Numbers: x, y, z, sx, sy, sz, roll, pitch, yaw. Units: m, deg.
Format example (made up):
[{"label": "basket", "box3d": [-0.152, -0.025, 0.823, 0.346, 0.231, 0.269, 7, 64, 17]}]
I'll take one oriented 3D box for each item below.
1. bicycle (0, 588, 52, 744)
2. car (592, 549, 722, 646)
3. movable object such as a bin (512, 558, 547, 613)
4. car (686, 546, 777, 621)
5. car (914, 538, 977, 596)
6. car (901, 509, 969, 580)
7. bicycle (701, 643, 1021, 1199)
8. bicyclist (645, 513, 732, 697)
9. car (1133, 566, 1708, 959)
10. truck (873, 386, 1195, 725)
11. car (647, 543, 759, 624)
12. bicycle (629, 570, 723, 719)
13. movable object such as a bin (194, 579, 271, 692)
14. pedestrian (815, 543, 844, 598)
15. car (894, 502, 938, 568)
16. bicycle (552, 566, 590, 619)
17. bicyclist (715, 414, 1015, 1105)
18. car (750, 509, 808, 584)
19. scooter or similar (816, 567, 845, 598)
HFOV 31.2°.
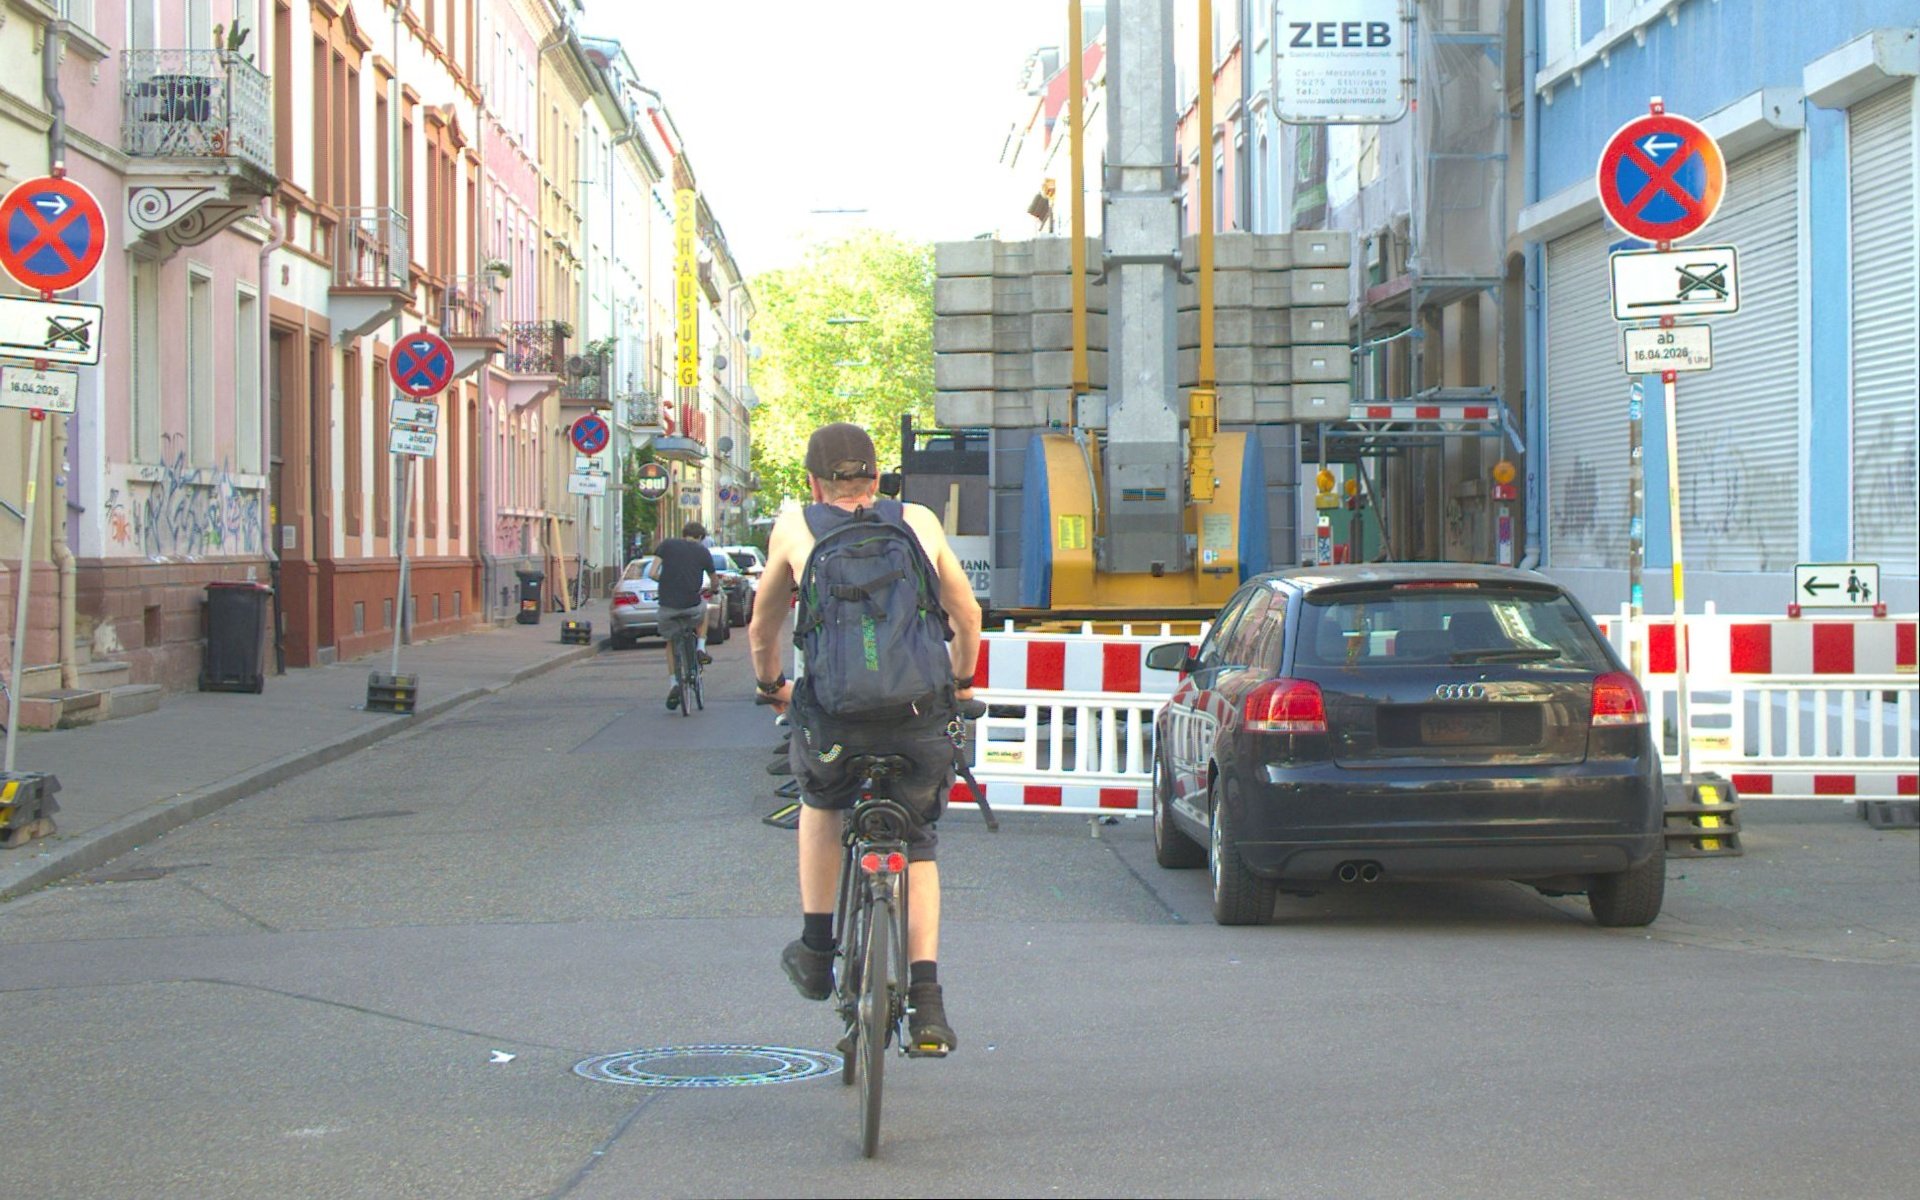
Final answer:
[{"label": "bicycle", "box3d": [-6.755, 0.445, 23.547, 0.622, 1.019, 1.818, 1, 1, -1]}, {"label": "car", "box3d": [-4.693, -0.063, 53.672, 1.710, 1.378, 4.506, -2, 1, -2]}, {"label": "movable object such as a bin", "box3d": [-7.481, -0.246, 59.722, 0.543, 0.941, 0.487, 1, 0, -1]}, {"label": "car", "box3d": [-4.705, -0.356, 71.247, 1.672, 1.437, 4.166, -2, 1, -2]}, {"label": "car", "box3d": [-0.434, -0.947, 97.725, 1.620, 1.545, 4.000, -2, 1, -2]}, {"label": "car", "box3d": [-0.975, -2.094, 130.079, 2.307, 2.529, 6.770, -2, 1, -2]}, {"label": "bicycle", "box3d": [-0.247, 0.738, 8.746, 0.702, 1.204, 2.342, 0, 1, -1]}, {"label": "bicyclist", "box3d": [-2.415, 0.034, 30.683, 0.702, 1.599, 0.813, -1, 2, -2]}, {"label": "car", "box3d": [1.816, 0.586, 14.795, 1.771, 1.429, 4.034, 0, 1, -2]}, {"label": "truck", "box3d": [0.542, -0.407, 32.576, 2.661, 2.804, 7.394, 1, 1, -1]}, {"label": "car", "box3d": [-4.769, -0.342, 64.302, 1.710, 1.378, 4.356, 0, 2, 1]}, {"label": "bicycle", "box3d": [-2.533, 0.374, 30.837, 0.702, 1.203, 2.342, -1, 2, -2]}, {"label": "movable object such as a bin", "box3d": [-6.814, 0.328, 32.199, 0.605, 1.032, 0.596, 1, 0, -3]}, {"label": "pedestrian", "box3d": [-3.768, -0.857, 99.381, 0.770, 1.573, 0.900, 1, 0, -5]}, {"label": "car", "box3d": [-2.626, -3.800, 203.000, 2.307, 3.755, 6.770, -2, 1, -2]}, {"label": "bicycle", "box3d": [-8.250, -0.169, 72.939, 0.592, 1.085, 2.079, 1, 1, -1]}, {"label": "bicyclist", "box3d": [-0.238, 0.371, 8.653, 0.702, 1.627, 1.090, 0, 0, -1]}, {"label": "car", "box3d": [-6.254, -1.847, 118.728, 1.909, 2.488, 4.166, -1, 1, -4]}, {"label": "scooter or similar", "box3d": [-3.728, -0.508, 98.954, 0.770, 0.870, 0.771, 1, 0, -5]}]
